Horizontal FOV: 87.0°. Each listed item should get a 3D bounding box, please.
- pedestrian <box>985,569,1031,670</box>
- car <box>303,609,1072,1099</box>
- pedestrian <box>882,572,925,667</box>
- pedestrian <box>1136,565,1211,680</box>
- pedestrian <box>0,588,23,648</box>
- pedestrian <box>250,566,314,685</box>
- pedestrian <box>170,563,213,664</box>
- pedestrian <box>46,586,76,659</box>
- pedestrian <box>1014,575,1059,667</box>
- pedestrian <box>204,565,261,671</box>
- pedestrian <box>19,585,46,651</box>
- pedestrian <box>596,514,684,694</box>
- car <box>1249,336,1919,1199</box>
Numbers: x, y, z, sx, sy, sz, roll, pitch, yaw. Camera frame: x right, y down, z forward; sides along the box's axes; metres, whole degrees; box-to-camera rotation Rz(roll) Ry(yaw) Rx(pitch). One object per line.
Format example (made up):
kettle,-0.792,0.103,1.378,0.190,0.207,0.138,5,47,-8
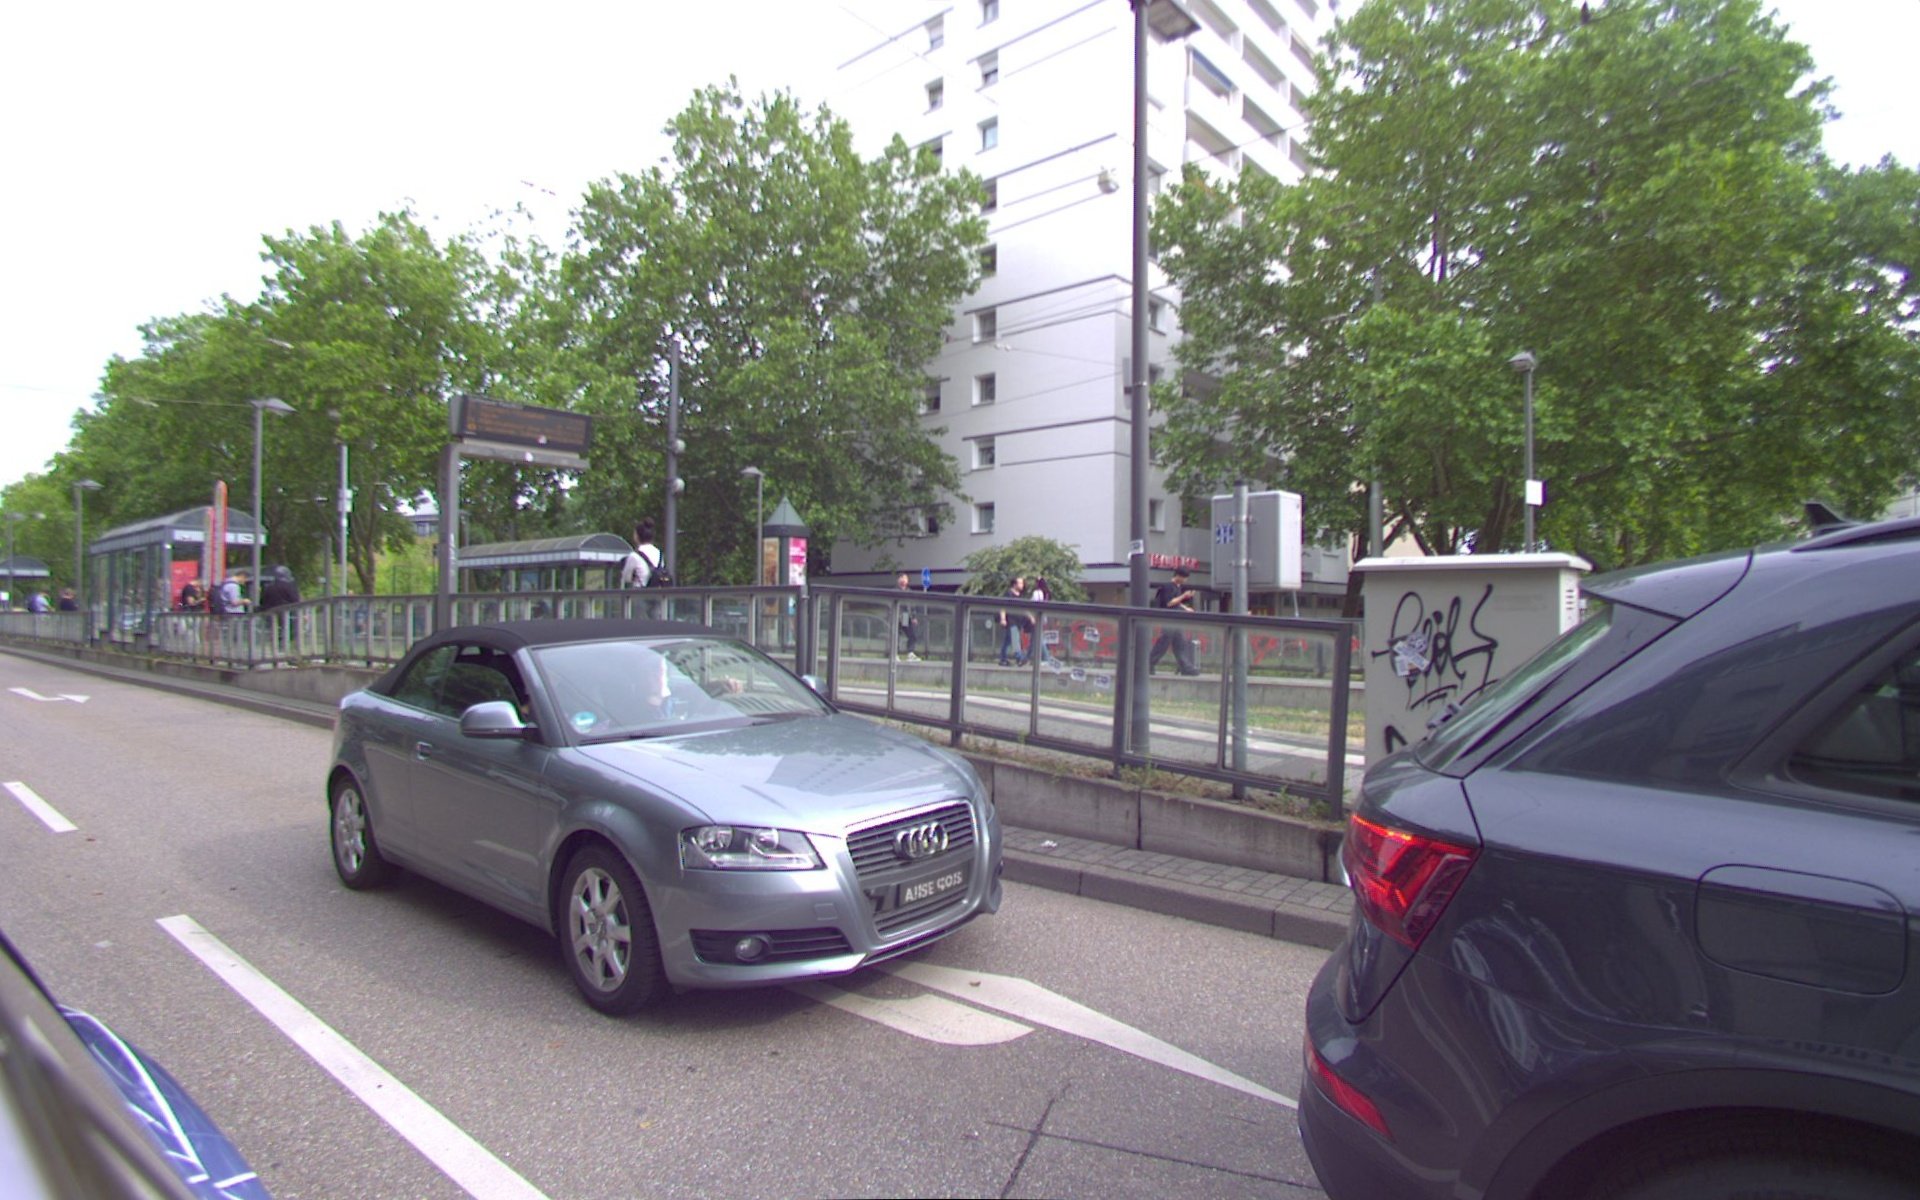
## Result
pedestrian,0.866,0.341,18.161,0.548,1.764,0.614,-1,0,41
car,-1.580,0.756,4.857,4.012,1.385,1.616,-1,0,41
pedestrian,-1.094,0.367,19.671,0.534,1.803,0.614,-1,0,41
pedestrian,3.318,0.338,15.721,0.878,1.708,0.733,-1,0,42
pedestrian,-33.082,0.617,35.269,0.821,2.066,0.577,-1,0,44
pedestrian,-10.543,0.389,15.742,0.652,1.805,0.535,-1,0,-9
pedestrian,-16.069,0.281,21.158,0.821,2.066,0.577,-1,0,44
pedestrian,-25.729,0.629,28.948,0.821,2.066,0.577,-1,0,44
pedestrian,1.429,0.384,18.821,0.565,1.681,0.614,-1,0,41
pedestrian,-12.722,0.307,17.689,0.821,1.805,0.674,-1,0,44
pedestrian,-29.396,0.564,32.086,0.821,2.066,0.577,-1,0,44
pedestrian,-3.256,0.038,10.308,0.534,1.764,0.654,-1,0,41
car,2.752,0.503,0.991,4.366,1.660,1.892,-1,0,41
